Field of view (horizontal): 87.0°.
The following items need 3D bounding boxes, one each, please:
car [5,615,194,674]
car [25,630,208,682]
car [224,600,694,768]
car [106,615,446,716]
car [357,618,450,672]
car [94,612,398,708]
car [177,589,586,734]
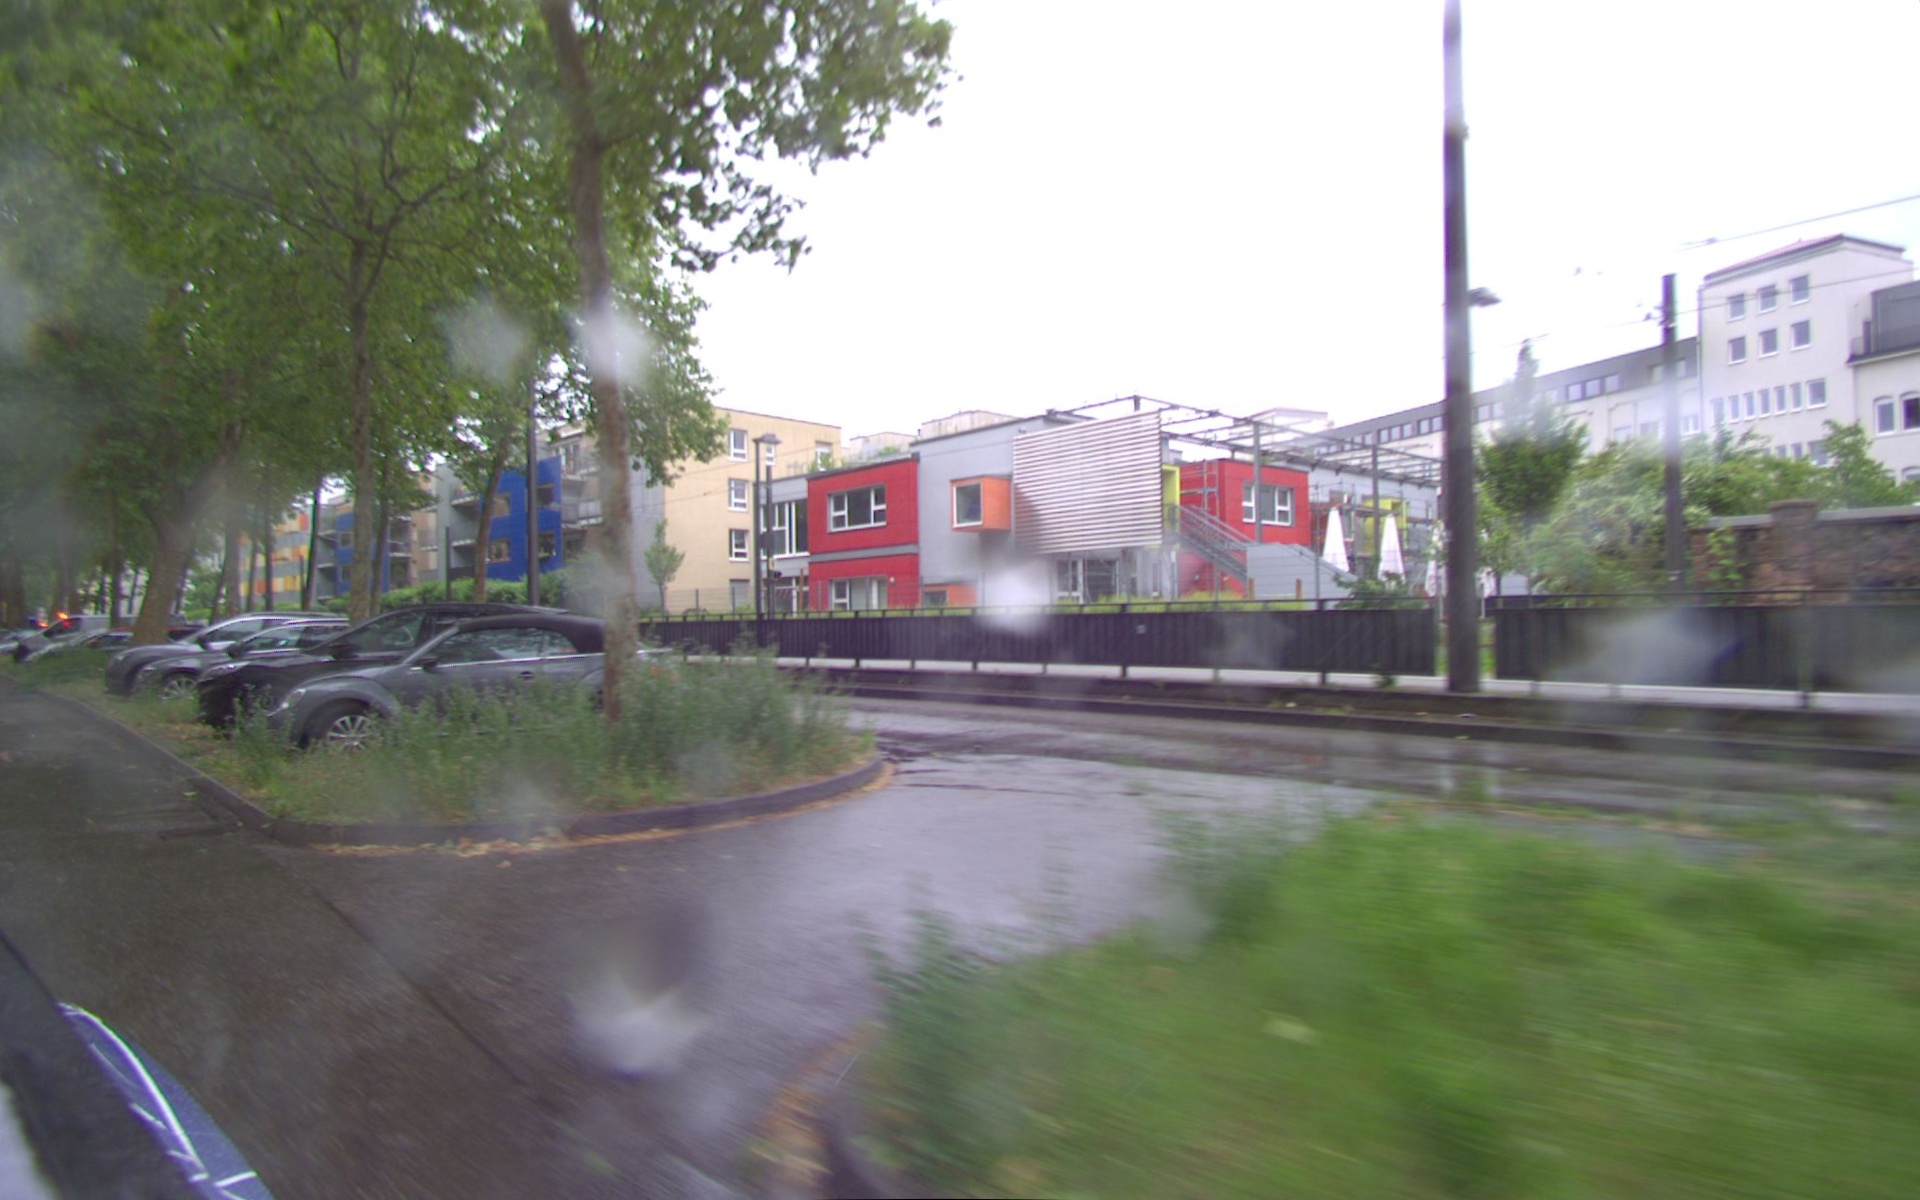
[{"bbox_3d":[-31.187,1.620,36.873,4.809,2.029,2.006,1,-2,-16],"label":"car"},{"bbox_3d":[-25.552,1.685,30.817,3.930,1.497,1.665,1,-2,-24],"label":"car"},{"bbox_3d":[-5.040,0.837,10.842,4.159,1.553,1.936,1,-2,-16],"label":"car"},{"bbox_3d":[-11.006,1.040,16.634,4.260,1.519,1.753,1,-2,-14],"label":"car"},{"bbox_3d":[-18.990,1.515,34.480,3.692,1.737,1.669,-2,-3,43],"label":"car"},{"bbox_3d":[-12.958,1.074,18.708,4.258,1.625,1.754,1,-2,-21],"label":"car"},{"bbox_3d":[-7.021,0.751,12.784,4.159,1.622,1.753,1,-2,-16],"label":"car"}]
